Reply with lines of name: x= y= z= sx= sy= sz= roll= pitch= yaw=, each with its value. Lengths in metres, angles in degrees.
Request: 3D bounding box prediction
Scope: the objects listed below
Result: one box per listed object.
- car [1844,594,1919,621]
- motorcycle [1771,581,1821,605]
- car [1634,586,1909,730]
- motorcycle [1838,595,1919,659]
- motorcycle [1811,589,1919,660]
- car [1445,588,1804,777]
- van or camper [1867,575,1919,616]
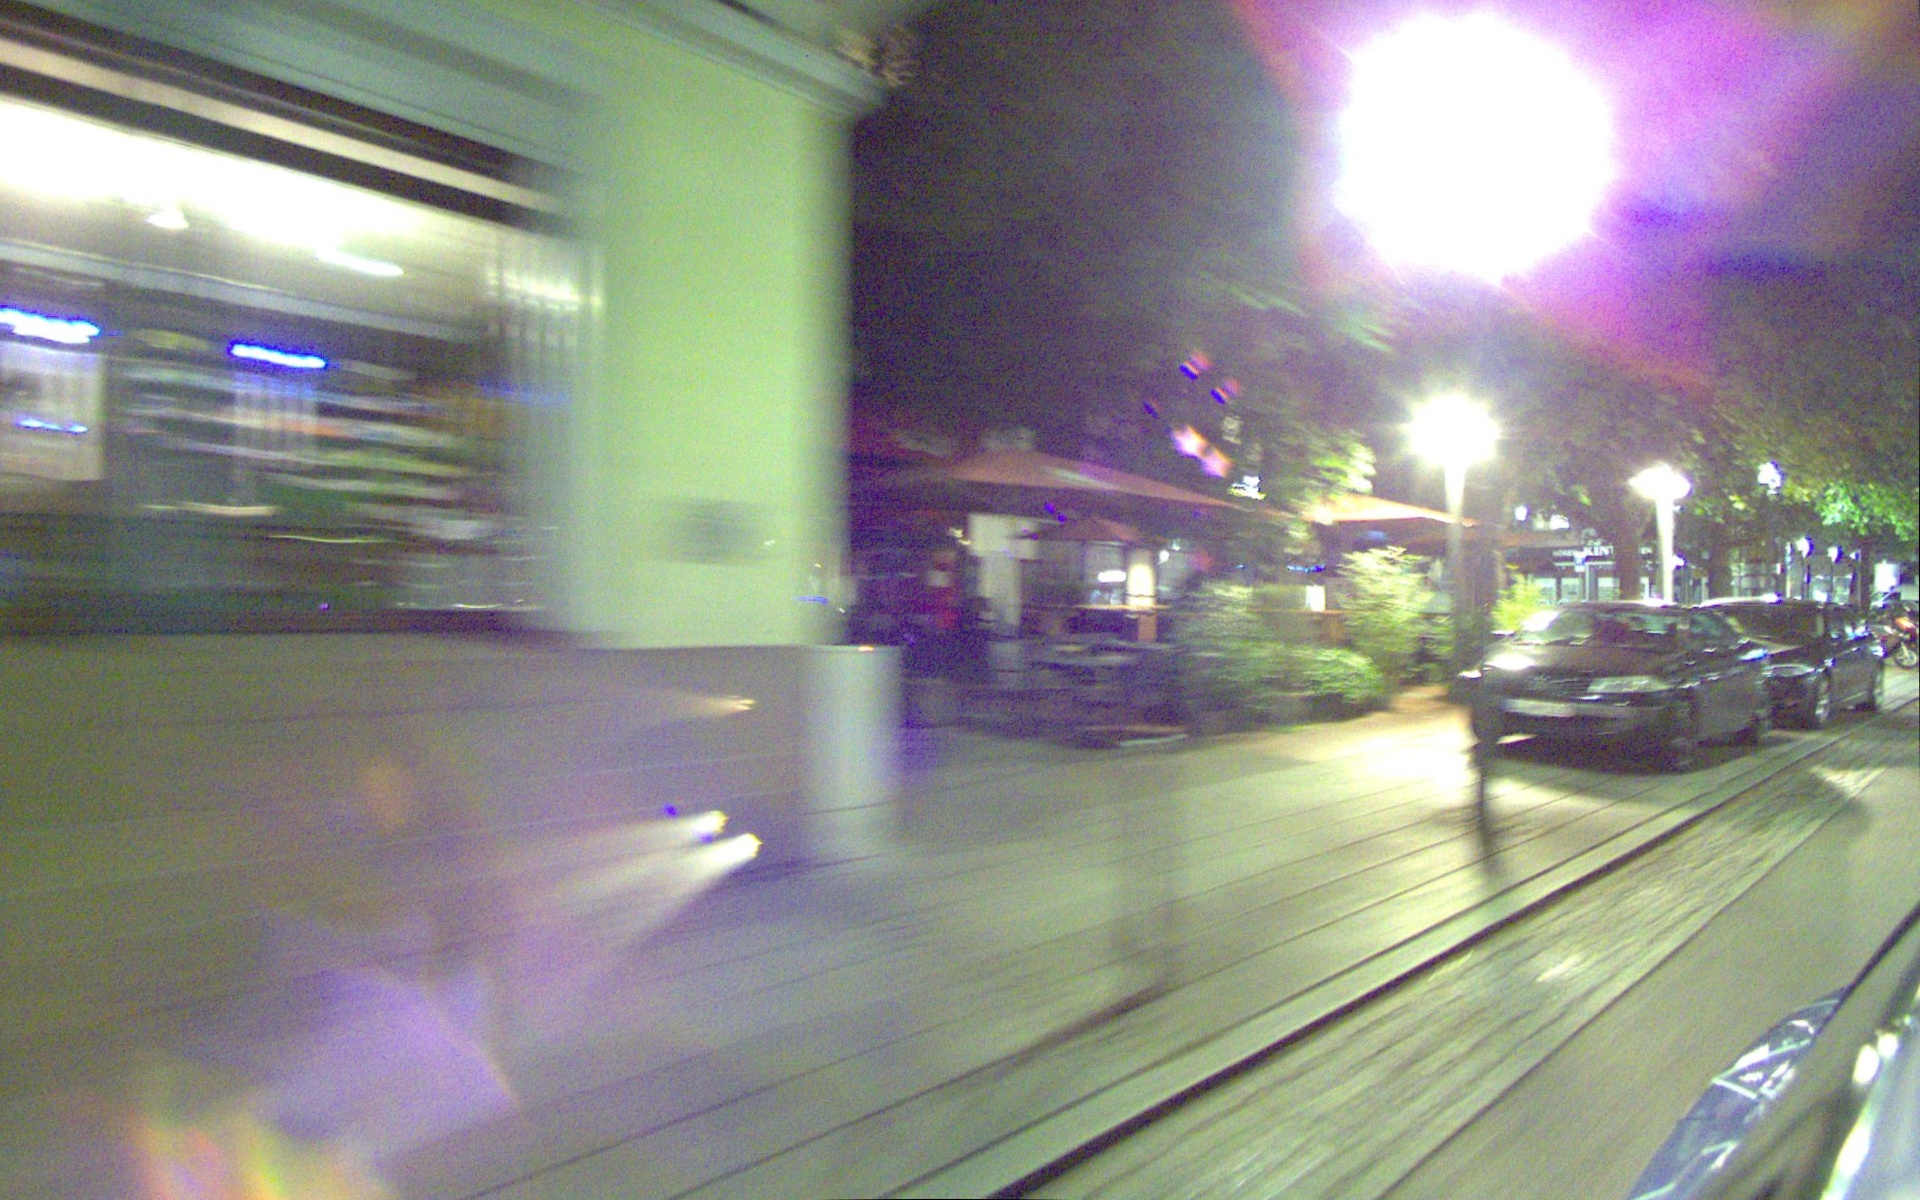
car: x=52.411 y=0.400 z=56.362 sx=4.479 sy=1.474 sz=1.631 roll=1 pitch=0 yaw=13
motorcycle: x=46.073 y=-0.387 z=55.798 sx=2.183 sy=1.287 sz=0.531 roll=1 pitch=0 yaw=6
car: x=10.369 y=0.604 z=12.816 sx=4.385 sy=1.482 sz=1.758 roll=0 pitch=2 yaw=-38
motorcycle: x=20.477 y=0.578 z=22.042 sx=0.505 sy=1.313 sz=2.175 roll=1 pitch=1 yaw=-11
motorcycle: x=19.411 y=0.495 z=21.324 sx=0.647 sy=1.408 sz=2.276 roll=1 pitch=1 yaw=-16
car: x=6.458 y=0.624 z=9.678 sx=4.029 sy=1.394 sz=1.666 roll=0 pitch=2 yaw=-38
van or camper: x=62.749 y=-0.266 z=65.216 sx=5.971 sy=2.565 sz=2.150 roll=1 pitch=0 yaw=18
